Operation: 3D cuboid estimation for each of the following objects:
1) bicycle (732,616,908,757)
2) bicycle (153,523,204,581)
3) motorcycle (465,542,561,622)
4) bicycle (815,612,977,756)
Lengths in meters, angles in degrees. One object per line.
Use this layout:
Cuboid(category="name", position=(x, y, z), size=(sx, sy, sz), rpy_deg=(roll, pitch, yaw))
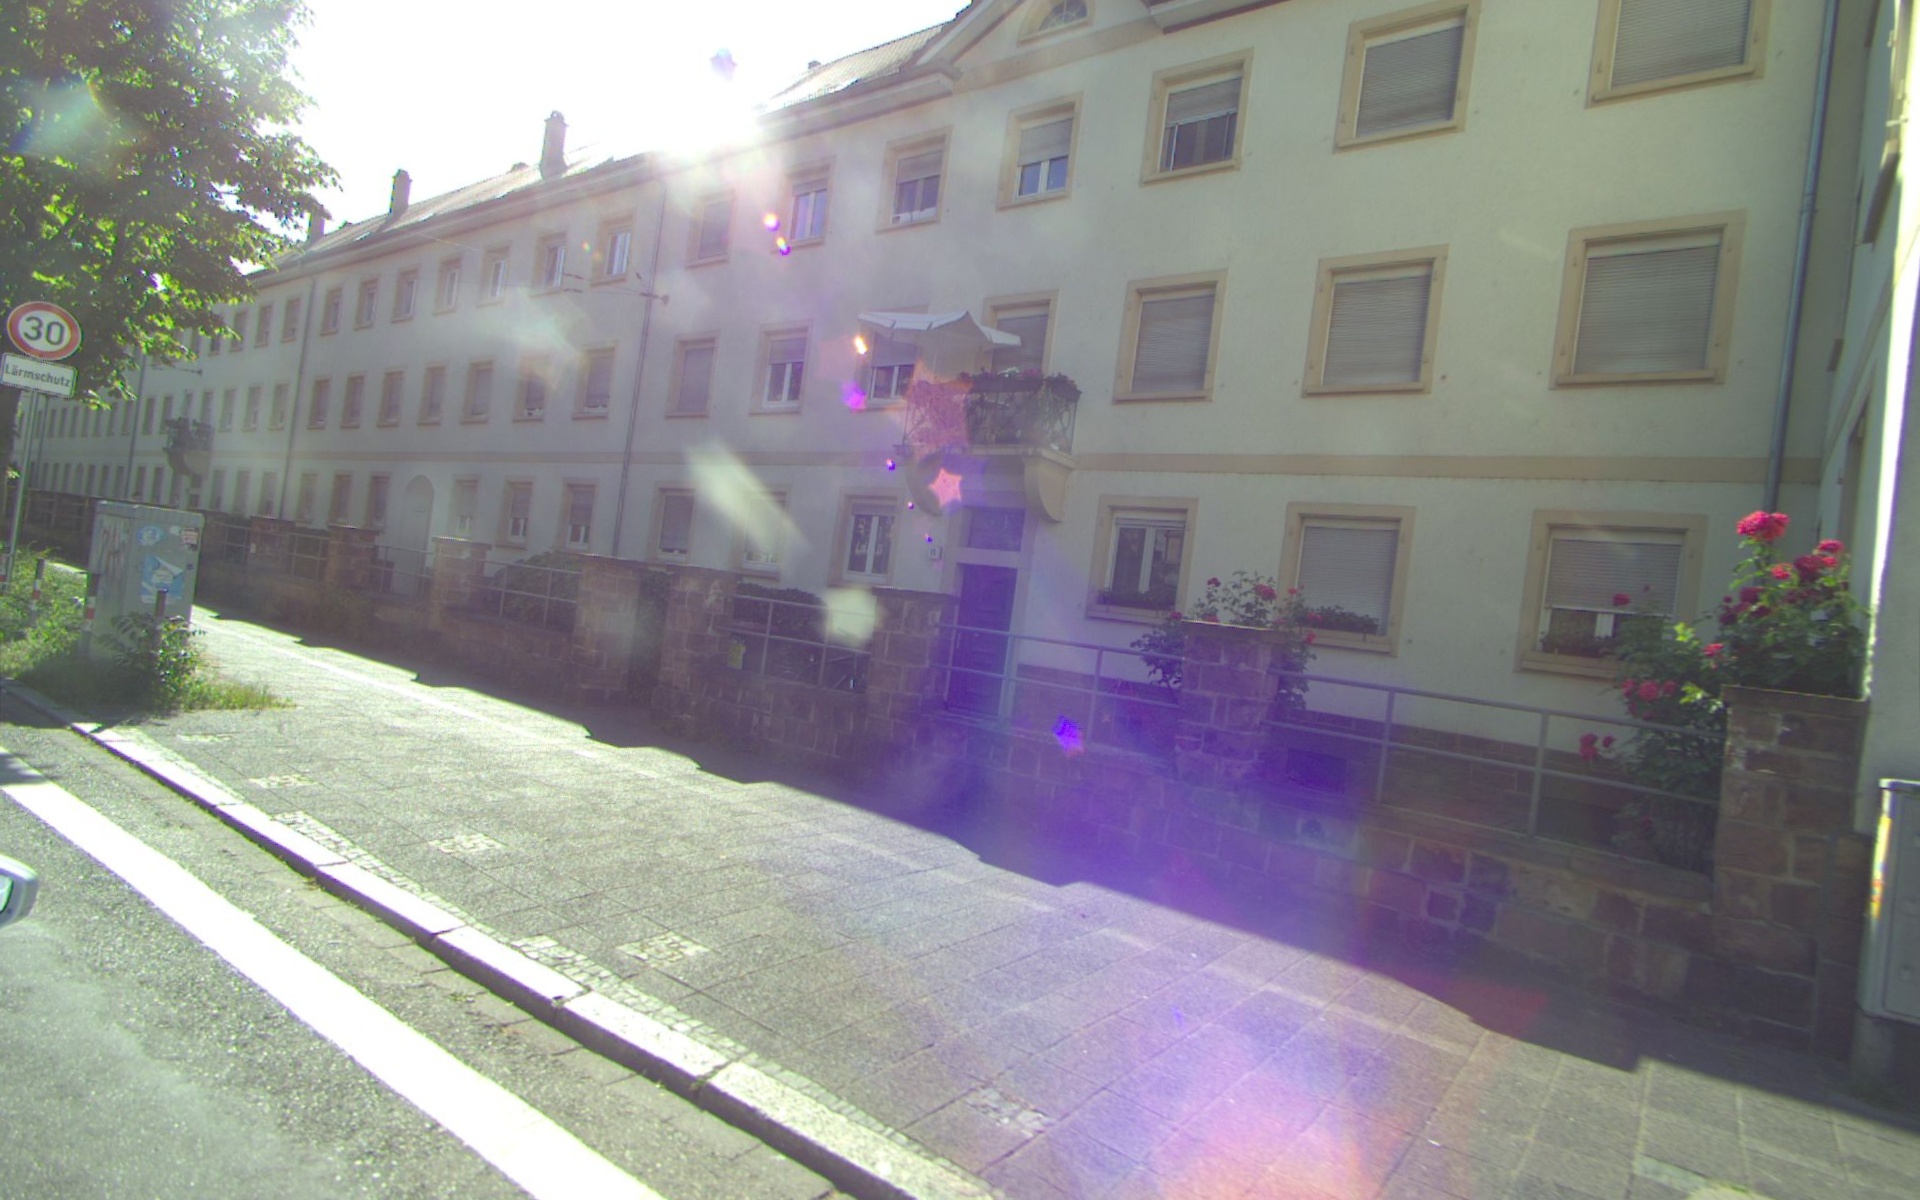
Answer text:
Cuboid(category="bicycle", position=(-1.387, 0.825, 9.799), size=(1.645, 1.104, 0.460), rpy_deg=(7, -3, 33))
Cuboid(category="bicycle", position=(-19.240, -1.197, 24.742), size=(1.650, 1.253, 0.448), rpy_deg=(7, -1, 37))
Cuboid(category="motorcycle", position=(-10.094, -0.421, 22.693), size=(2.224, 1.503, 0.807), rpy_deg=(7, -3, 37))
Cuboid(category="bicycle", position=(-0.719, 0.903, 11.072), size=(1.645, 1.314, 0.460), rpy_deg=(7, -3, 33))
